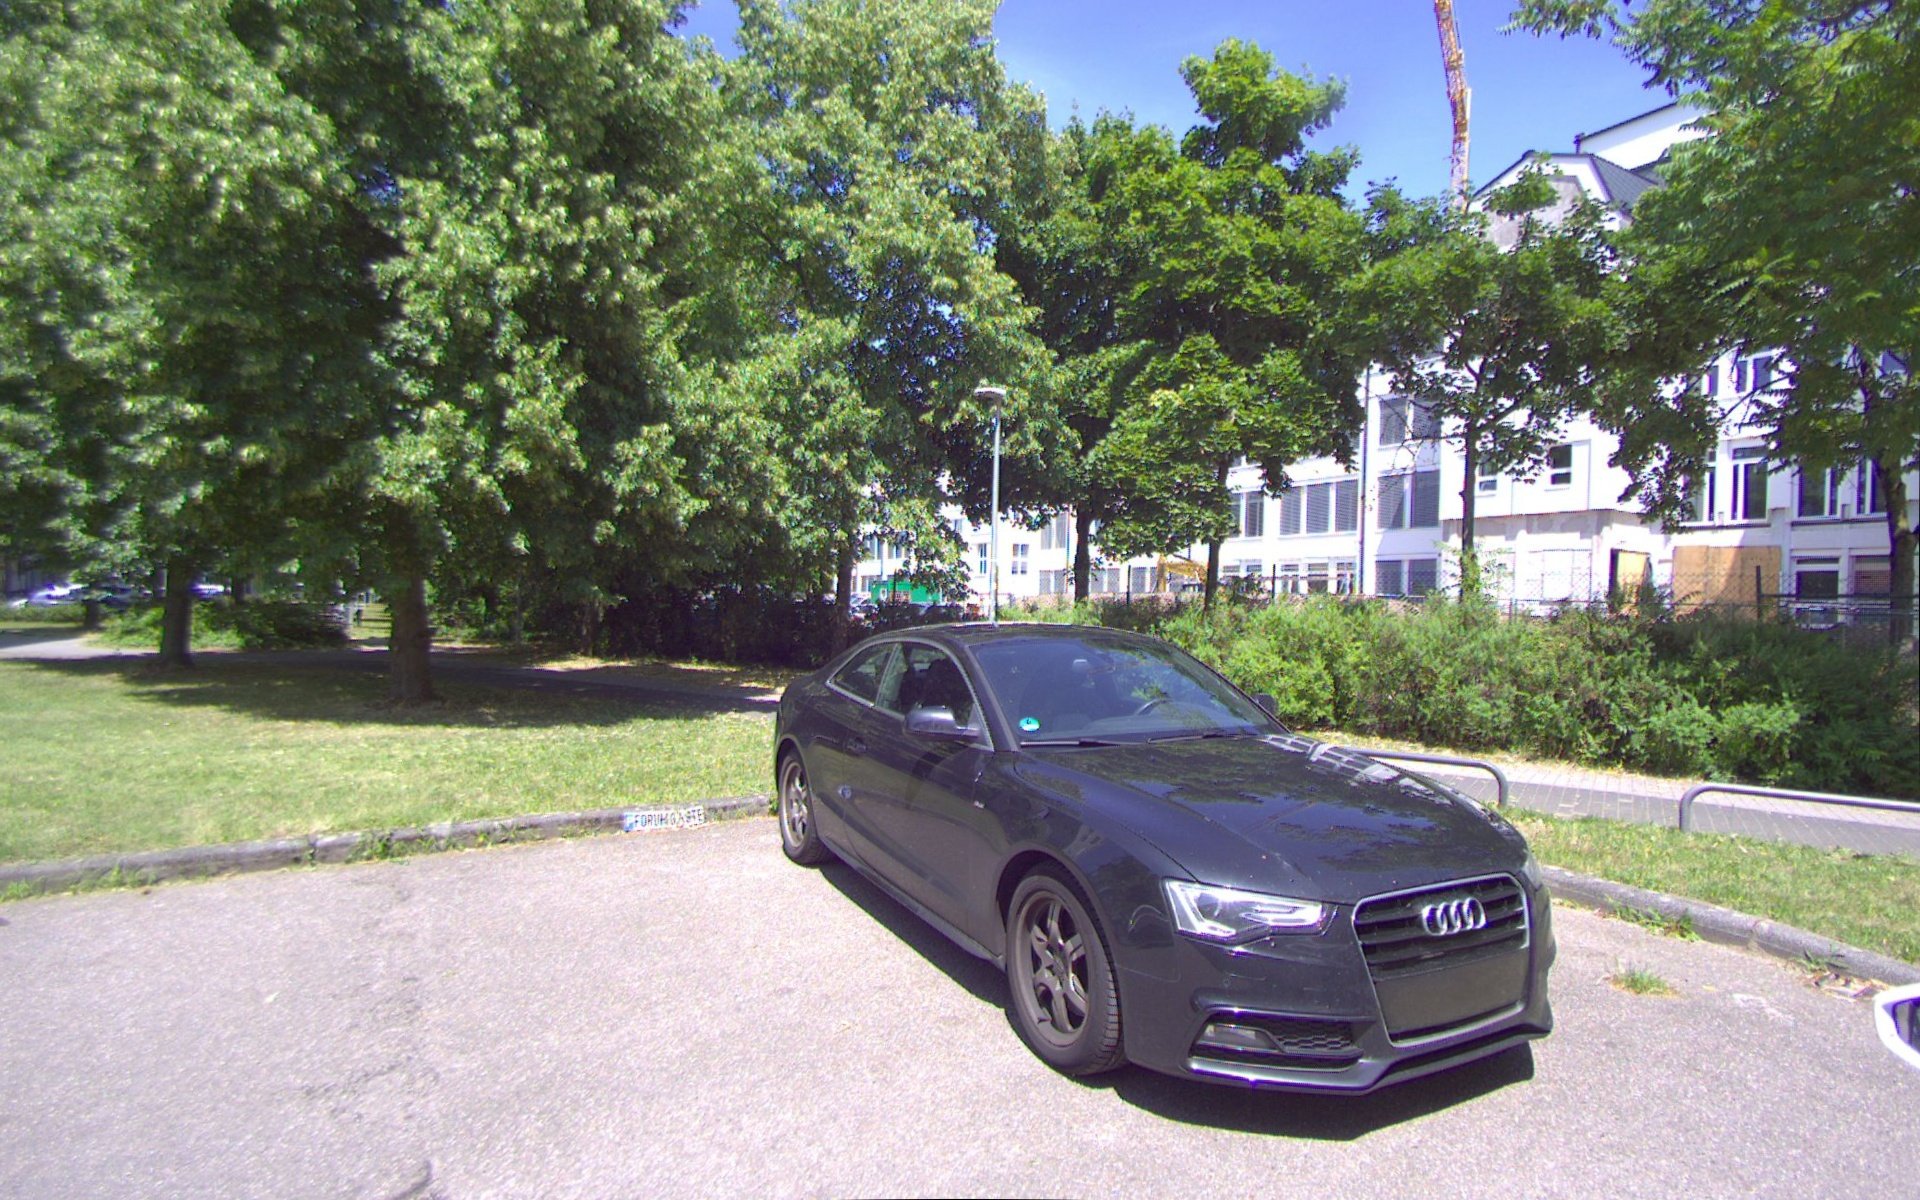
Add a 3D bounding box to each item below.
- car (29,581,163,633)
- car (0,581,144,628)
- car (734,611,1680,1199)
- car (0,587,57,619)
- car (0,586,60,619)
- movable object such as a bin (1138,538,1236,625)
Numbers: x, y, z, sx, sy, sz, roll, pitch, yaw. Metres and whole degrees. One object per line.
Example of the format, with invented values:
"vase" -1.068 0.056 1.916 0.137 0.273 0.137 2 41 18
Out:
"car" -36.500 0.303 42.572 3.956 2.040 1.982 3 -1 -32
"car" -34.809 0.182 39.216 4.294 1.631 1.917 3 -1 -32
"car" 0.467 0.792 4.786 1.998 1.398 4.413 0 0 -27
"car" -49.323 0.133 51.672 3.956 1.550 1.731 3 -1 -32
"car" -51.064 0.108 53.873 3.852 1.652 1.521 3 -1 -32
"movable object such as a bin" 12.226 -0.969 54.569 1.974 4.430 5.686 2 -1 -26
